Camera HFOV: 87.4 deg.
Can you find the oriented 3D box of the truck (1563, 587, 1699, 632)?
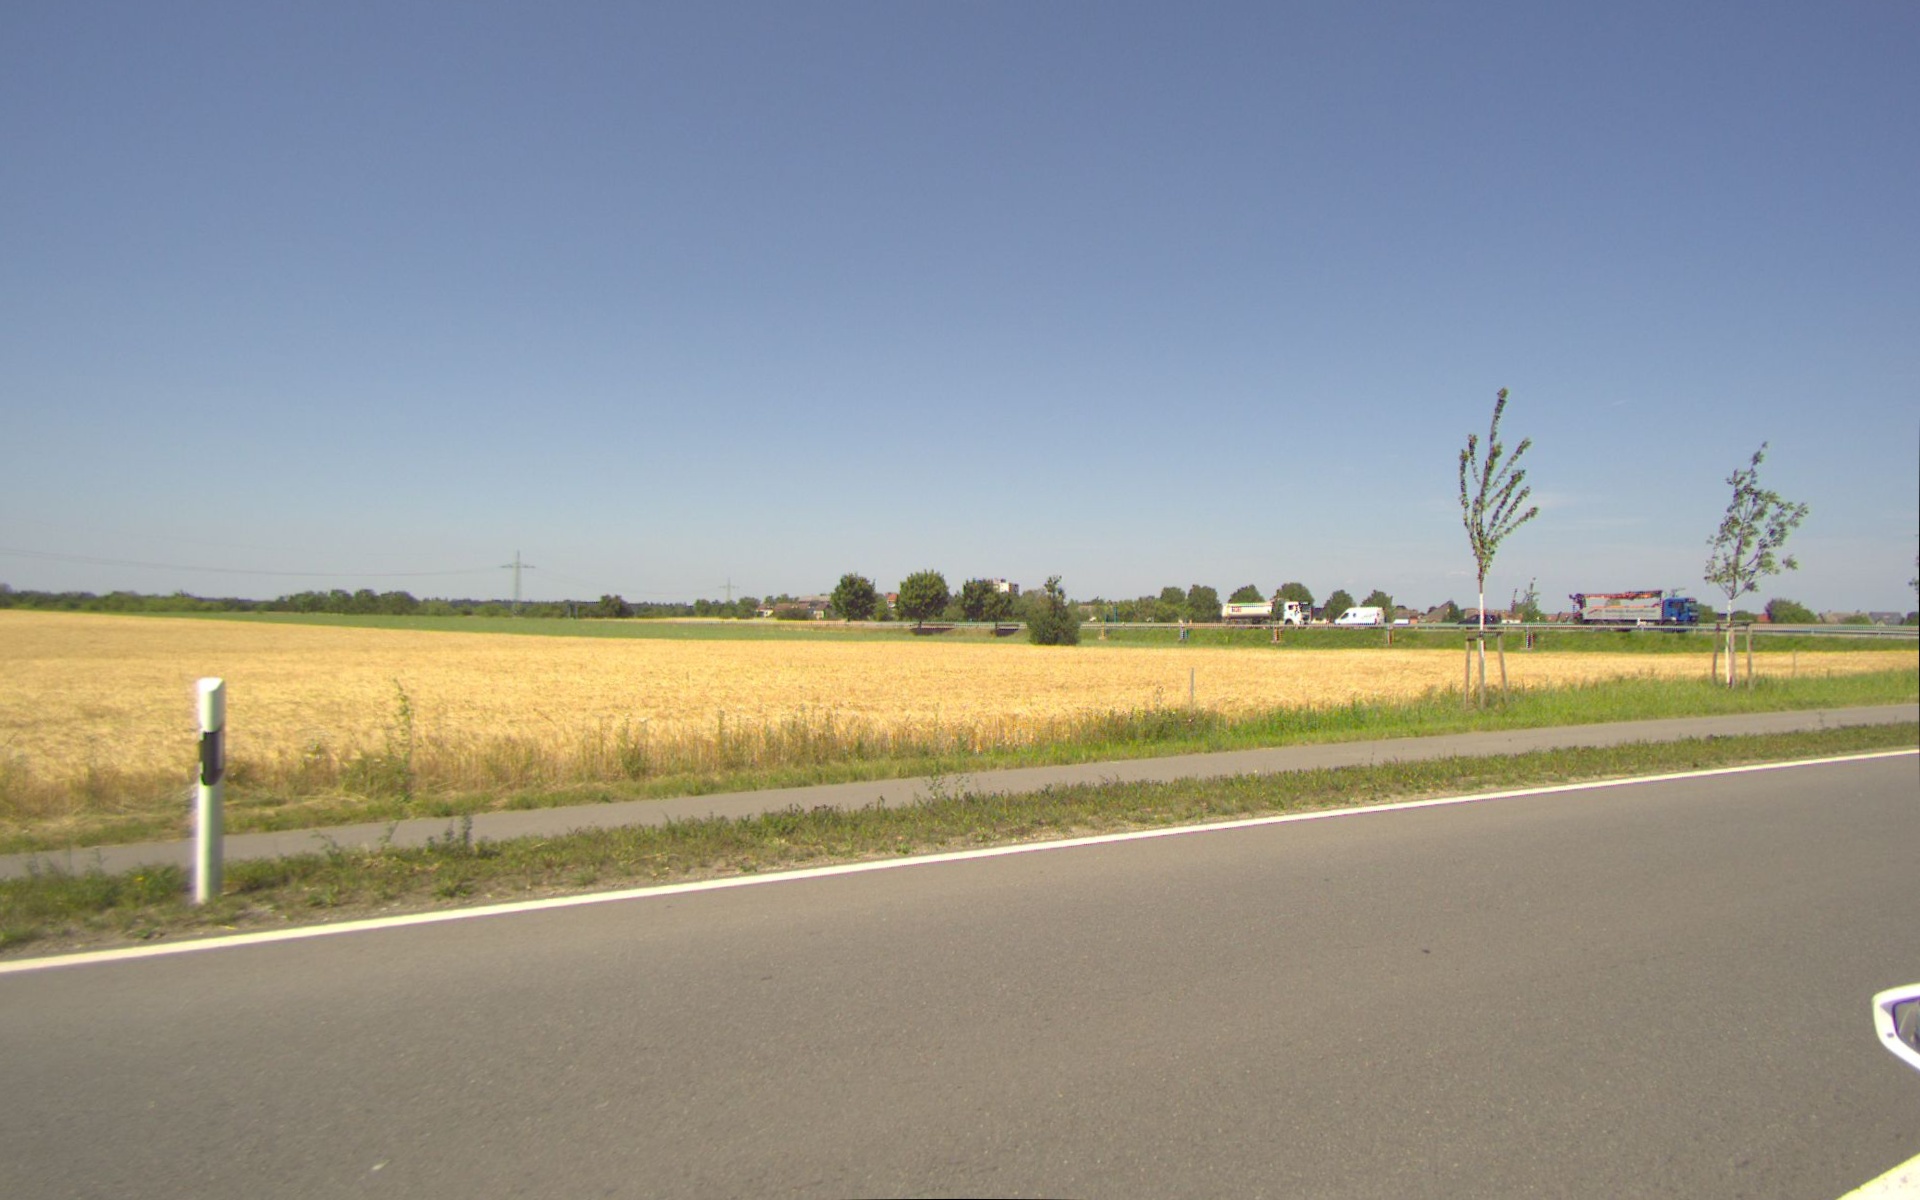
[{"bbox_3d":[60.623,0.768,91.070,2.598,3.844,10.021,1,0,-33],"label":"truck"}]

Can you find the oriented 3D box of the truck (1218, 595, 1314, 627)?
[{"bbox_3d":[37.082,1.274,122.380,2.953,3.663,11.911,1,0,-35],"label":"truck"}]

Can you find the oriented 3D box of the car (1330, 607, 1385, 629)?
[{"bbox_3d":[47.170,2.095,119.353,2.225,2.454,5.878,1,0,-35],"label":"car"}]
